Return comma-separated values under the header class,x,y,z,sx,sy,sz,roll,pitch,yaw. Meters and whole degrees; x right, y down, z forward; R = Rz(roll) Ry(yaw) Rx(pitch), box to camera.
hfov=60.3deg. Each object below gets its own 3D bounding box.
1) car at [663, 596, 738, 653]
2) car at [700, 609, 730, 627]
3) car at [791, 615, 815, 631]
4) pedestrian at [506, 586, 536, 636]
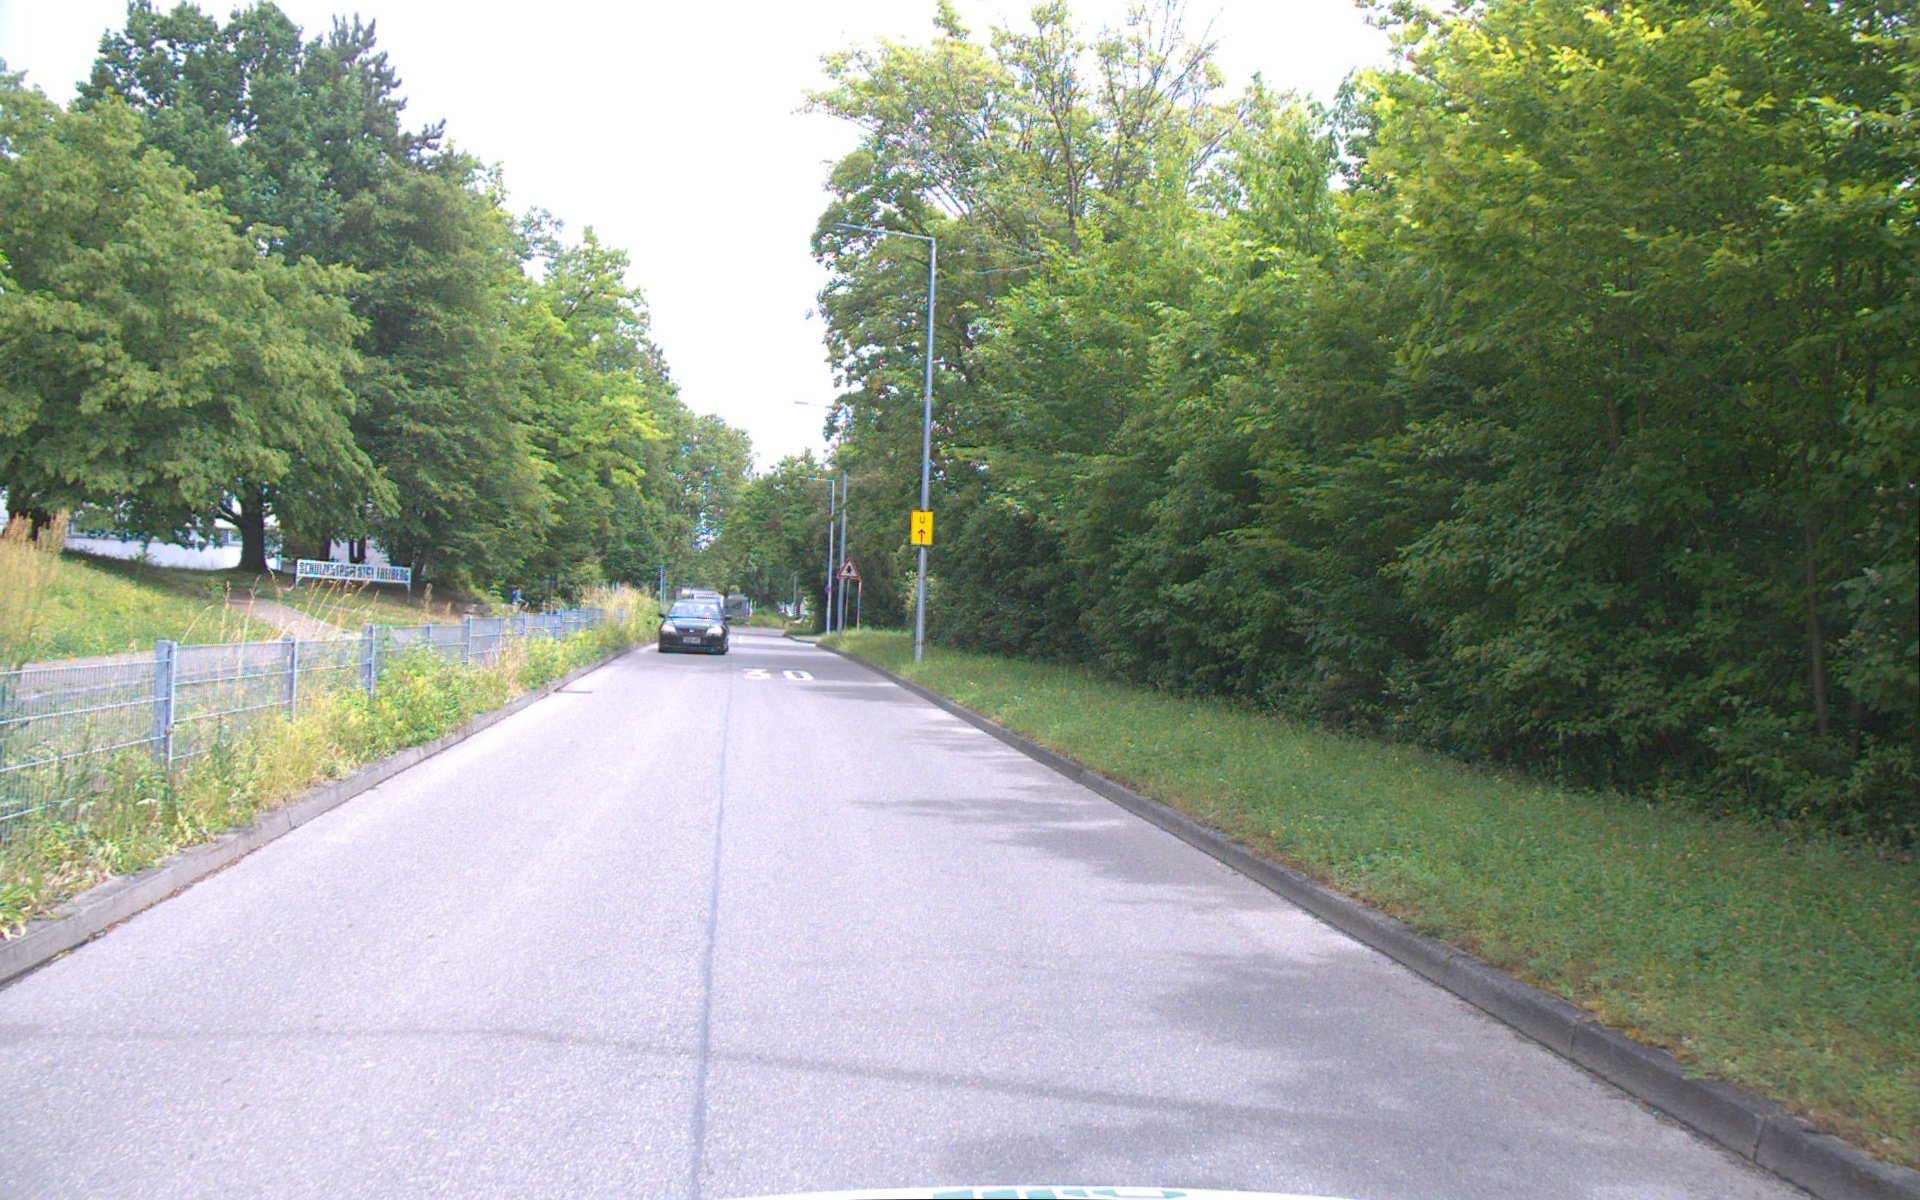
class,x,y,z,sx,sy,sz,roll,pitch,yaw
car,-6.657,0.595,42.759,1.660,1.372,4.089,1,0,-6
car,-20.759,1.521,140.358,1.939,1.408,3.999,3,-1,0
car,-16.925,2.506,178.349,1.820,1.518,4.002,-1,-3,7
pedestrian,-18.406,0.475,69.348,0.861,2.049,0.863,-3,-4,38
